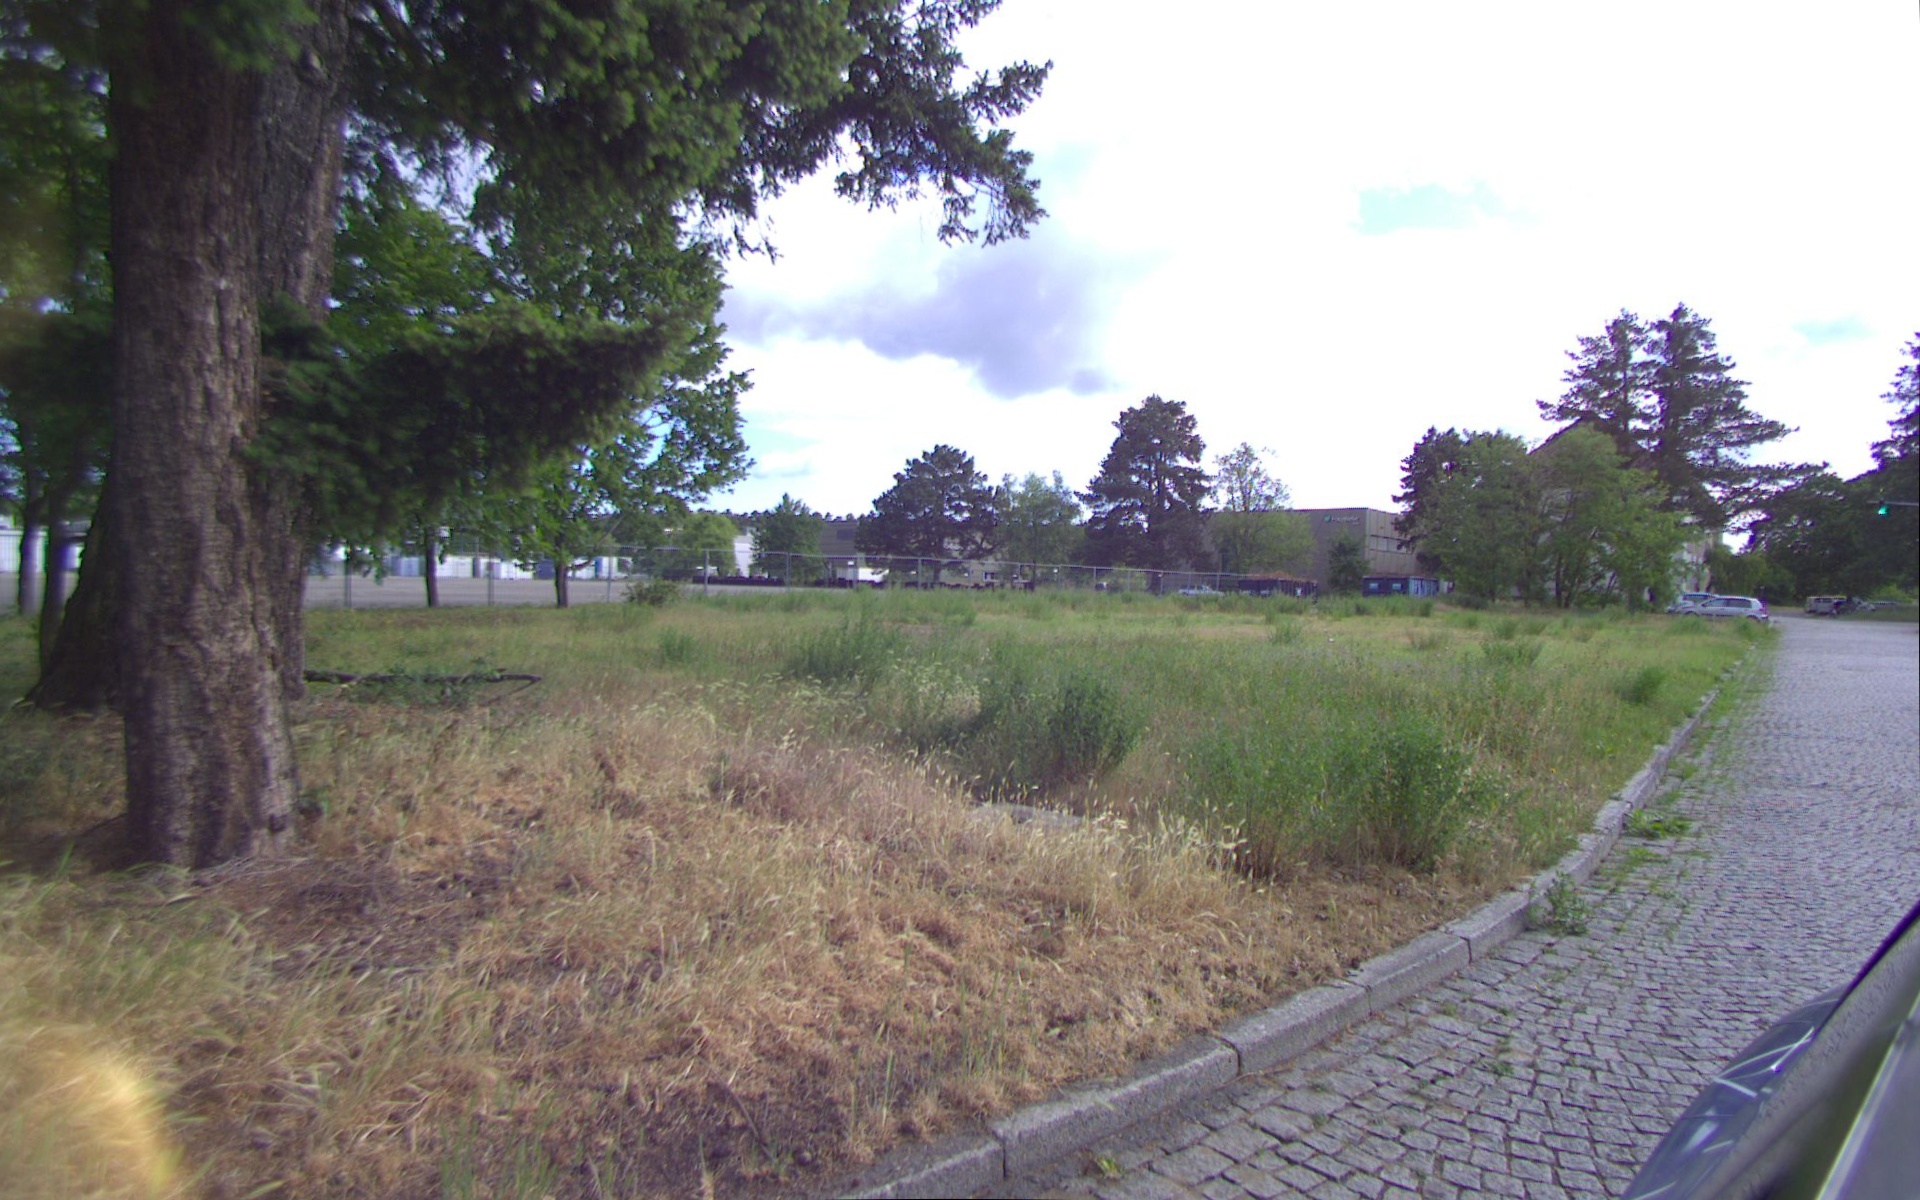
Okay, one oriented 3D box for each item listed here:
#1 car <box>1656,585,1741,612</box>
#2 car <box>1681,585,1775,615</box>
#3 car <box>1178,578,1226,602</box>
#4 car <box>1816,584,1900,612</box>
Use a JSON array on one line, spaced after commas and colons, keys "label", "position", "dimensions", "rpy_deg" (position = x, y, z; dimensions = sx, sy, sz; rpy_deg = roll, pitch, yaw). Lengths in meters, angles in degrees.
[{"label": "car", "position": [40.988, -0.093, 56.272], "dimensions": [3.704, 1.456, 1.608], "rpy_deg": [-1, 0, 33]}, {"label": "car", "position": [38.755, -0.018, 51.153], "dimensions": [3.710, 1.456, 1.605], "rpy_deg": [0, 1, 37]}, {"label": "car", "position": [21.225, -0.877, 88.833], "dimensions": [3.699, 1.928, 2.000], "rpy_deg": [3, 0, 0]}, {"label": "car", "position": [86.954, -0.180, 98.151], "dimensions": [5.761, 2.595, 2.735], "rpy_deg": [-1, 0, 35]}]
